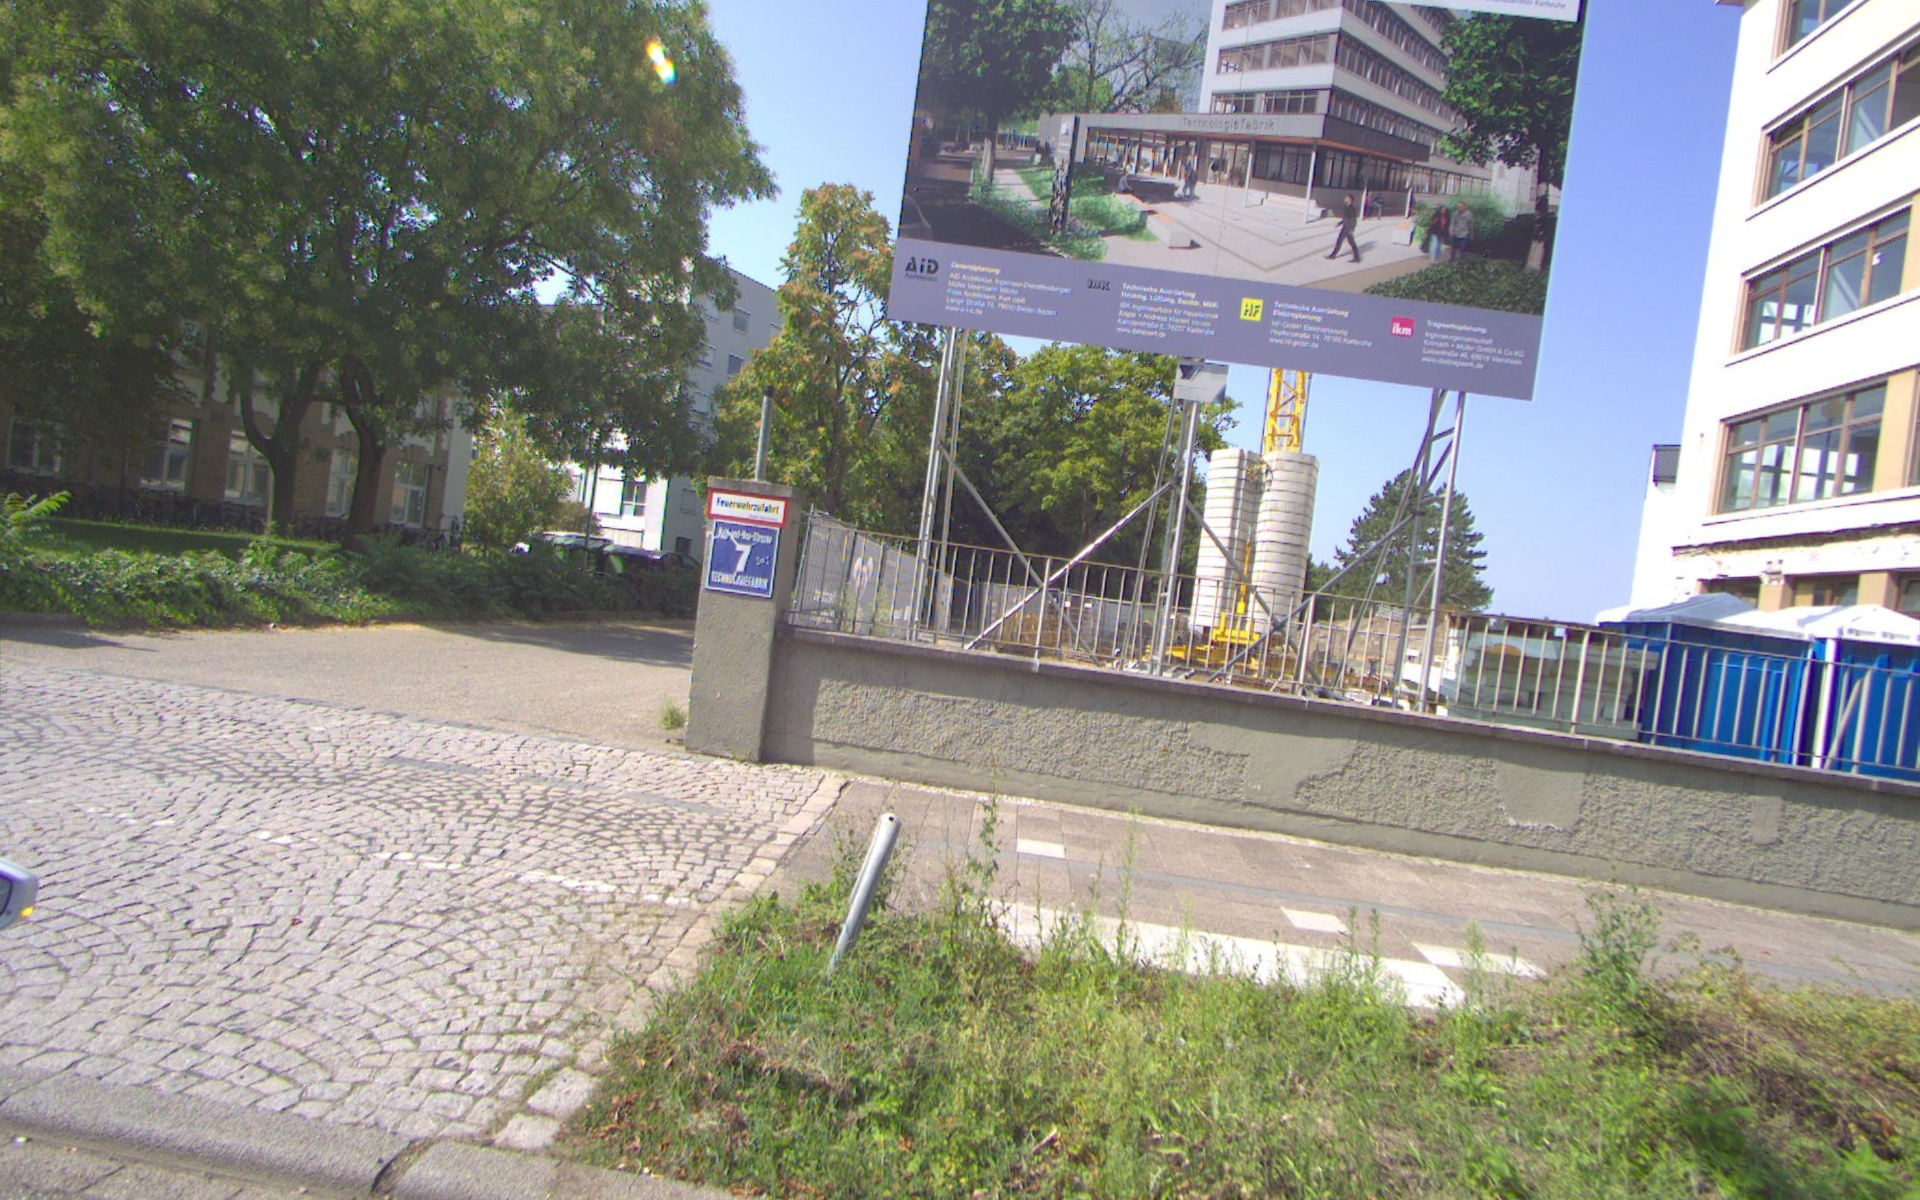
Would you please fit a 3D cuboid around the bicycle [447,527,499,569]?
[{"bbox_3d":[-17.365,-1.859,35.839,2.139,1.319,0.607,7,0,35],"label":"bicycle"}]

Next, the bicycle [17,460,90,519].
[{"bbox_3d":[-23.153,-2.827,25.666,2.486,1.318,0.769,7,0,35],"label":"bicycle"}]

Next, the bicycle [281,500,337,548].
[{"bbox_3d":[-20.183,-2.361,31.170,2.139,1.319,0.607,7,0,35],"label":"bicycle"}]

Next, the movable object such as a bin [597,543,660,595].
[{"bbox_3d":[-10.832,-1.001,32.895,1.308,1.449,1.249,9,1,25],"label":"movable object such as a bin"}]

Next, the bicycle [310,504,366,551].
[{"bbox_3d":[-19.746,-2.308,31.920,2.139,1.319,0.607,7,0,35],"label":"bicycle"}]

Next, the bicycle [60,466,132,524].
[{"bbox_3d":[-22.762,-2.766,26.489,2.486,1.318,0.769,7,0,35],"label":"bicycle"}]

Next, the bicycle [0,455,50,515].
[{"bbox_3d":[-23.465,-2.869,24.909,2.486,1.318,0.769,7,0,35],"label":"bicycle"}]

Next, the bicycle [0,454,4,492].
[{"bbox_3d":[-24.017,-2.944,24.312,2.486,1.318,0.769,7,0,35],"label":"bicycle"}]

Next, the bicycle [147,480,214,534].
[{"bbox_3d":[-21.956,-2.638,28.328,2.237,1.318,0.769,7,0,35],"label":"bicycle"}]

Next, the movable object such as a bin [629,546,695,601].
[{"bbox_3d":[-9.499,-0.830,32.086,1.347,1.511,1.336,8,1,17],"label":"movable object such as a bin"}]

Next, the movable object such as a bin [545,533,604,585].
[{"bbox_3d":[-13.084,-1.368,34.147,1.185,1.514,1.249,9,1,26],"label":"movable object such as a bin"}]

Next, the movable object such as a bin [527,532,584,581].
[{"bbox_3d":[-14.260,-1.525,35.461,1.185,1.462,1.249,9,1,25],"label":"movable object such as a bin"}]

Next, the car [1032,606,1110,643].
[{"bbox_3d":[6.729,1.491,61.199,4.093,1.633,1.995,9,1,33],"label":"car"}]

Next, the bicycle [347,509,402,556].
[{"bbox_3d":[-19.119,-2.216,32.823,2.139,1.319,0.607,7,0,35],"label":"bicycle"}]

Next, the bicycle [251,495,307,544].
[{"bbox_3d":[-20.744,-2.455,30.627,2.139,1.319,0.607,7,0,35],"label":"bicycle"}]

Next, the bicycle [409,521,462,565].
[{"bbox_3d":[-18.095,-1.984,34.684,2.139,1.319,0.607,7,0,35],"label":"bicycle"}]

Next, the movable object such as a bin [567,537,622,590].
[{"bbox_3d":[-12.038,-1.200,33.160,1.082,1.500,1.100,9,1,26],"label":"movable object such as a bin"}]

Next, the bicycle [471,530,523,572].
[{"bbox_3d":[-16.779,-1.776,36.443,2.139,1.319,0.607,7,0,35],"label":"bicycle"}]

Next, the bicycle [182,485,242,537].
[{"bbox_3d":[-21.594,-2.581,29.020,2.237,1.319,0.625,7,0,35],"label":"bicycle"}]

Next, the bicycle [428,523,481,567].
[{"bbox_3d":[-17.733,-1.938,35.267,2.139,1.319,0.607,7,0,35],"label":"bicycle"}]

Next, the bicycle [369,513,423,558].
[{"bbox_3d":[-18.828,-2.152,33.542,2.139,1.319,0.607,7,0,35],"label":"bicycle"}]

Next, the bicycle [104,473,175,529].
[{"bbox_3d":[-22.459,-2.706,27.510,2.486,1.318,0.769,7,0,35],"label":"bicycle"}]

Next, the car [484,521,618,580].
[{"bbox_3d":[-18.783,-2.234,46.445,2.462,1.904,5.072,8,0,34],"label":"car"}]

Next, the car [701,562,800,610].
[{"bbox_3d":[-8.980,-0.575,43.274,1.681,1.546,3.899,8,0,37],"label":"car"}]

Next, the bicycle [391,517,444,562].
[{"bbox_3d":[-18.377,-2.060,34.054,2.139,1.319,0.607,7,0,35],"label":"bicycle"}]

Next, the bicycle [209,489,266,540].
[{"bbox_3d":[-21.267,-2.525,29.591,2.139,1.319,0.607,7,0,35],"label":"bicycle"}]
